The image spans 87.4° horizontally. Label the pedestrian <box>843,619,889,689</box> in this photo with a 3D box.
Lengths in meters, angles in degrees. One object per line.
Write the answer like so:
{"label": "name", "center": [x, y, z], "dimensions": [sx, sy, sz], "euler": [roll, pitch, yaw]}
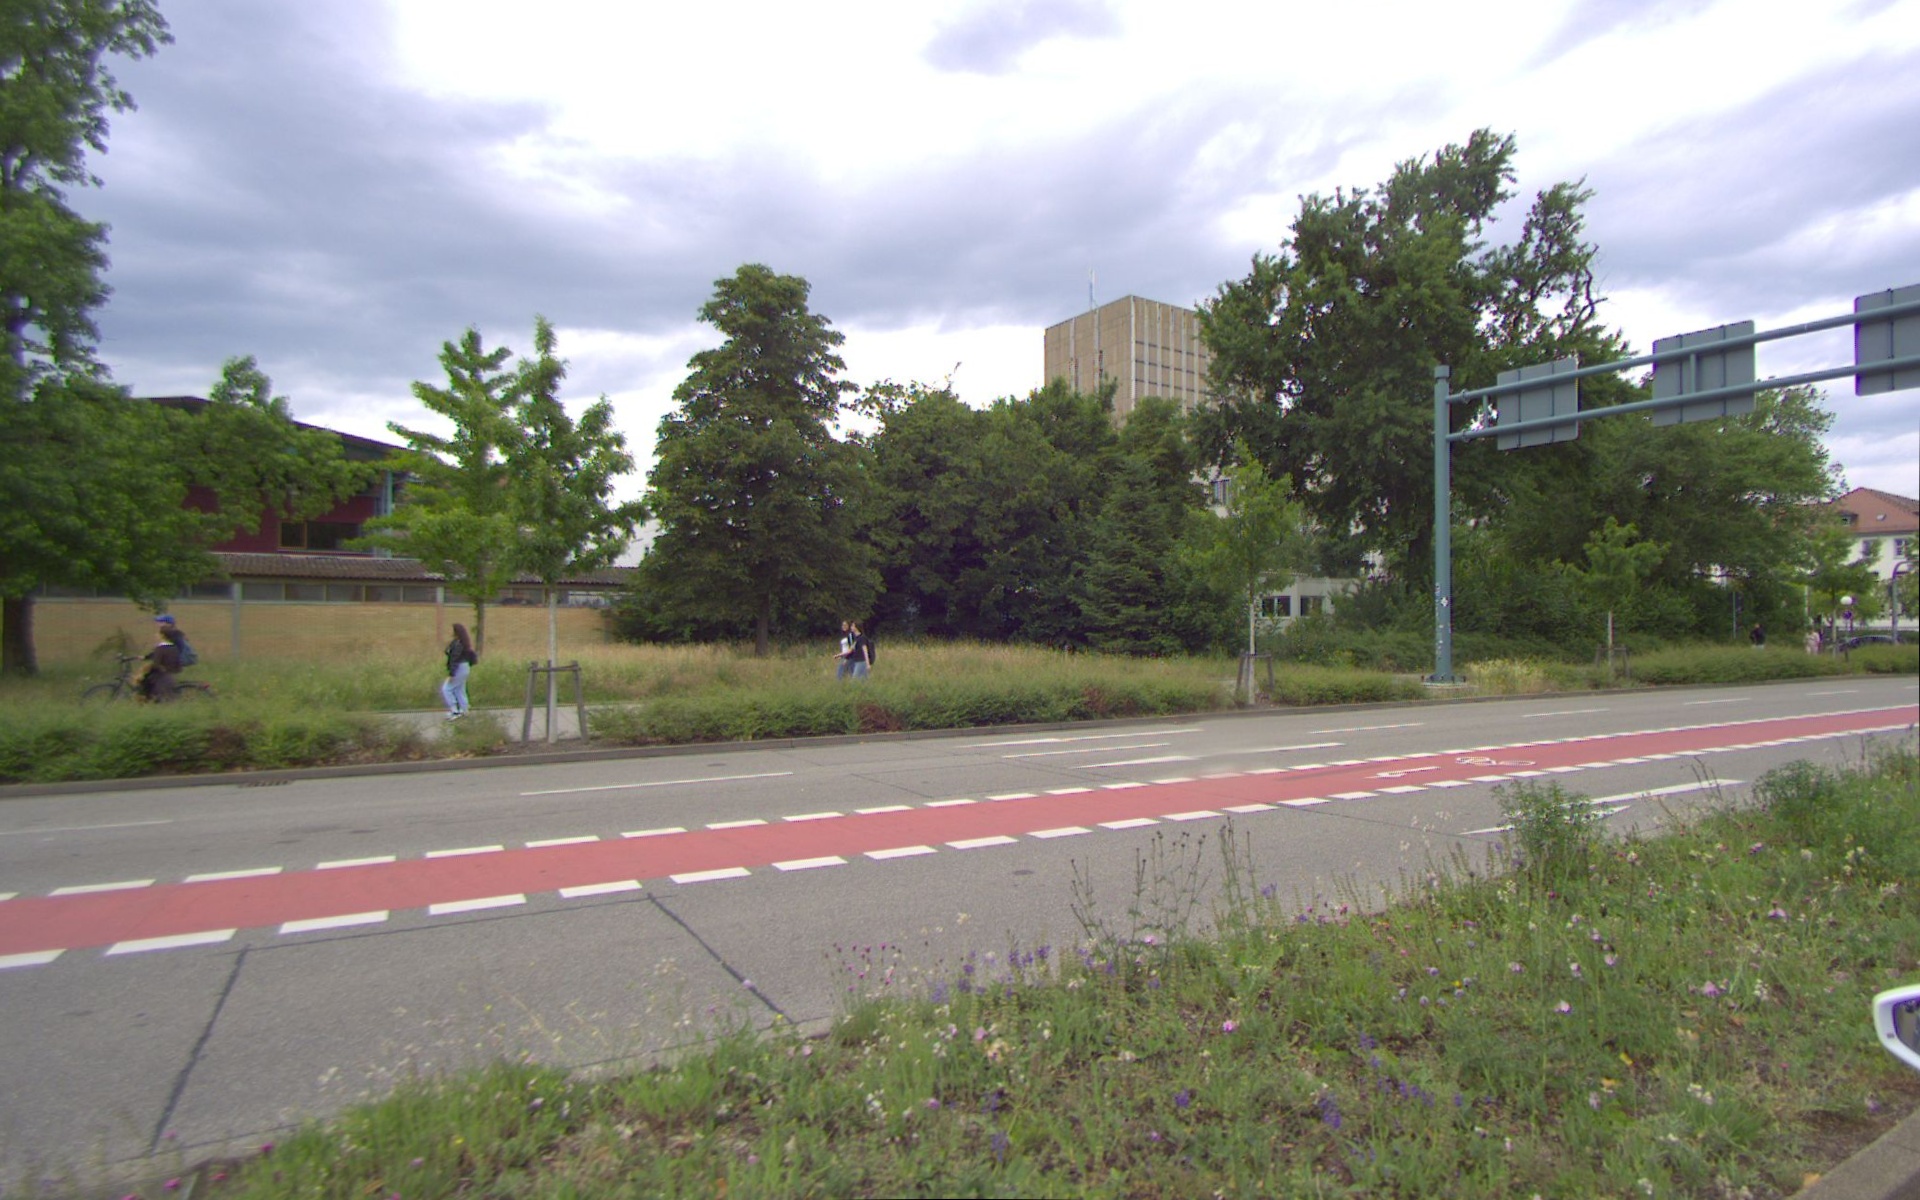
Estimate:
{"label": "pedestrian", "center": [-1.891, 1.082, 20.247], "dimensions": [0.703, 1.375, 0.642], "euler": [0, -3, -31]}

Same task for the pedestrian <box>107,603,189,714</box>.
{"label": "pedestrian", "center": [-12.490, 0.886, 15.475], "dimensions": [0.750, 1.653, 0.661], "euler": [-1, -2, -14]}

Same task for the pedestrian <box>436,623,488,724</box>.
{"label": "pedestrian", "center": [-8.550, 1.252, 17.239], "dimensions": [0.713, 1.682, 0.582], "euler": [0, -3, -35]}

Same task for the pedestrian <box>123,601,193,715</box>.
{"label": "pedestrian", "center": [-11.856, 0.853, 14.869], "dimensions": [0.606, 1.630, 0.575], "euler": [-1, -2, -13]}

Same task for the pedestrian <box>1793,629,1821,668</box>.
{"label": "pedestrian", "center": [36.701, 2.107, 43.518], "dimensions": [0.663, 1.657, 0.697], "euler": [0, -3, -29]}

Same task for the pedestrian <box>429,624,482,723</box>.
{"label": "pedestrian", "center": [-8.946, 1.288, 17.813], "dimensions": [0.760, 1.694, 0.702], "euler": [0, -3, -35]}

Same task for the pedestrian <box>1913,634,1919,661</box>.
{"label": "pedestrian", "center": [57.794, 2.856, 60.438], "dimensions": [0.563, 1.545, 0.846], "euler": [-1, -6, 37]}

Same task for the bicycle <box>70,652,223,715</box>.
{"label": "bicycle", "center": [-12.482, 1.270, 15.461], "dimensions": [1.686, 0.899, 0.661], "euler": [-1, -2, -15]}

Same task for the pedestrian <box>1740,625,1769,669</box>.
{"label": "pedestrian", "center": [31.899, 1.875, 40.329], "dimensions": [0.808, 1.752, 0.617], "euler": [0, -3, -30]}

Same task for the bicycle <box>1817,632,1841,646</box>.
{"label": "bicycle", "center": [68.890, 3.096, 79.621], "dimensions": [1.385, 1.066, 0.586], "euler": [-3, -3, 41]}

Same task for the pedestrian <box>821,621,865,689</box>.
{"label": "pedestrian", "center": [-2.416, 1.130, 20.716], "dimensions": [0.673, 1.380, 0.642], "euler": [0, -3, -31]}
